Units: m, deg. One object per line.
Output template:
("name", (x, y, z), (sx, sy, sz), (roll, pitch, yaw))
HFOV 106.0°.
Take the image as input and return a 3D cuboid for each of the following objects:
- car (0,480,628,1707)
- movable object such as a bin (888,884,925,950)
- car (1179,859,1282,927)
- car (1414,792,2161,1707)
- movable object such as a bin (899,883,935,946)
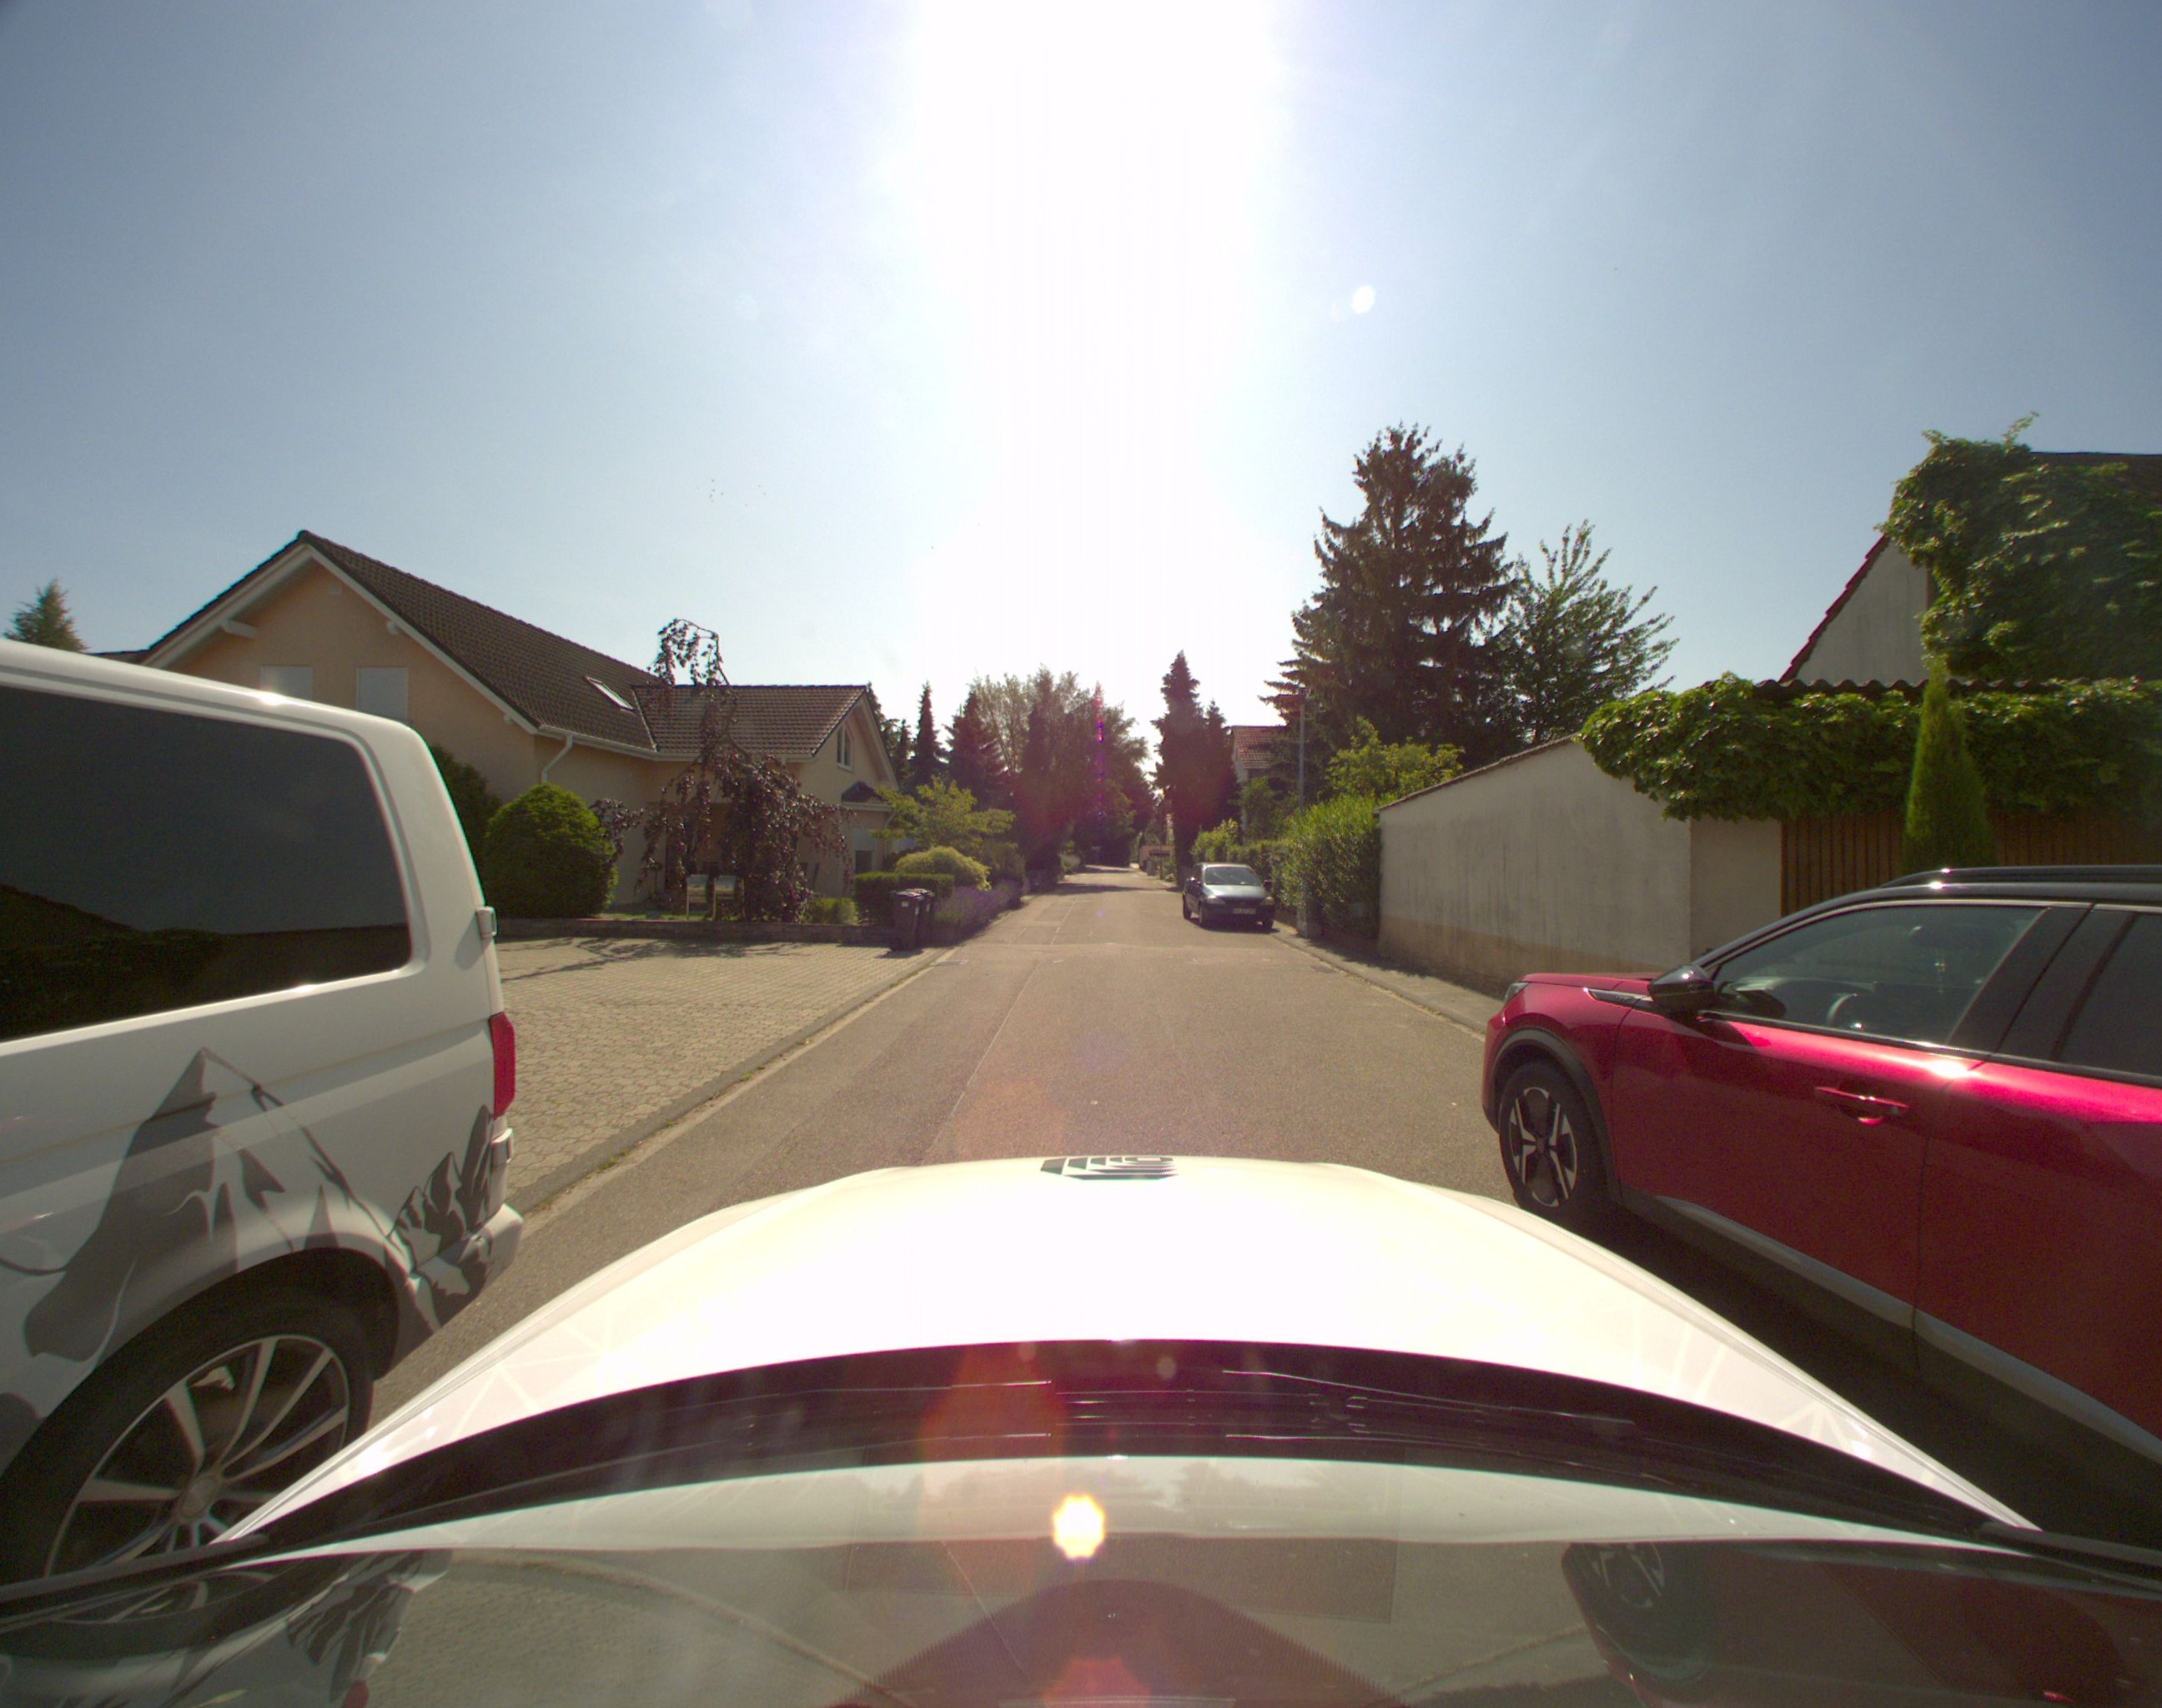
("car", (-2.546, 0.463, 0.166), (1.921, 2.014, 4.899), (1, 0, 3))
("movable object such as a bin", (-2.835, 1.018, 13.267), (0.492, 1.024, 0.447), (0, 0, 1))
("car", (3.425, 0.841, 19.333), (1.697, 1.399, 4.000), (1, 0, 0))
("car", (2.787, 0.725, 2.503), (1.817, 1.615, 3.998), (1, 0, -1))
("movable object such as a bin", (-2.761, 1.013, 13.735), (0.492, 1.024, 0.447), (0, 0, 1))
